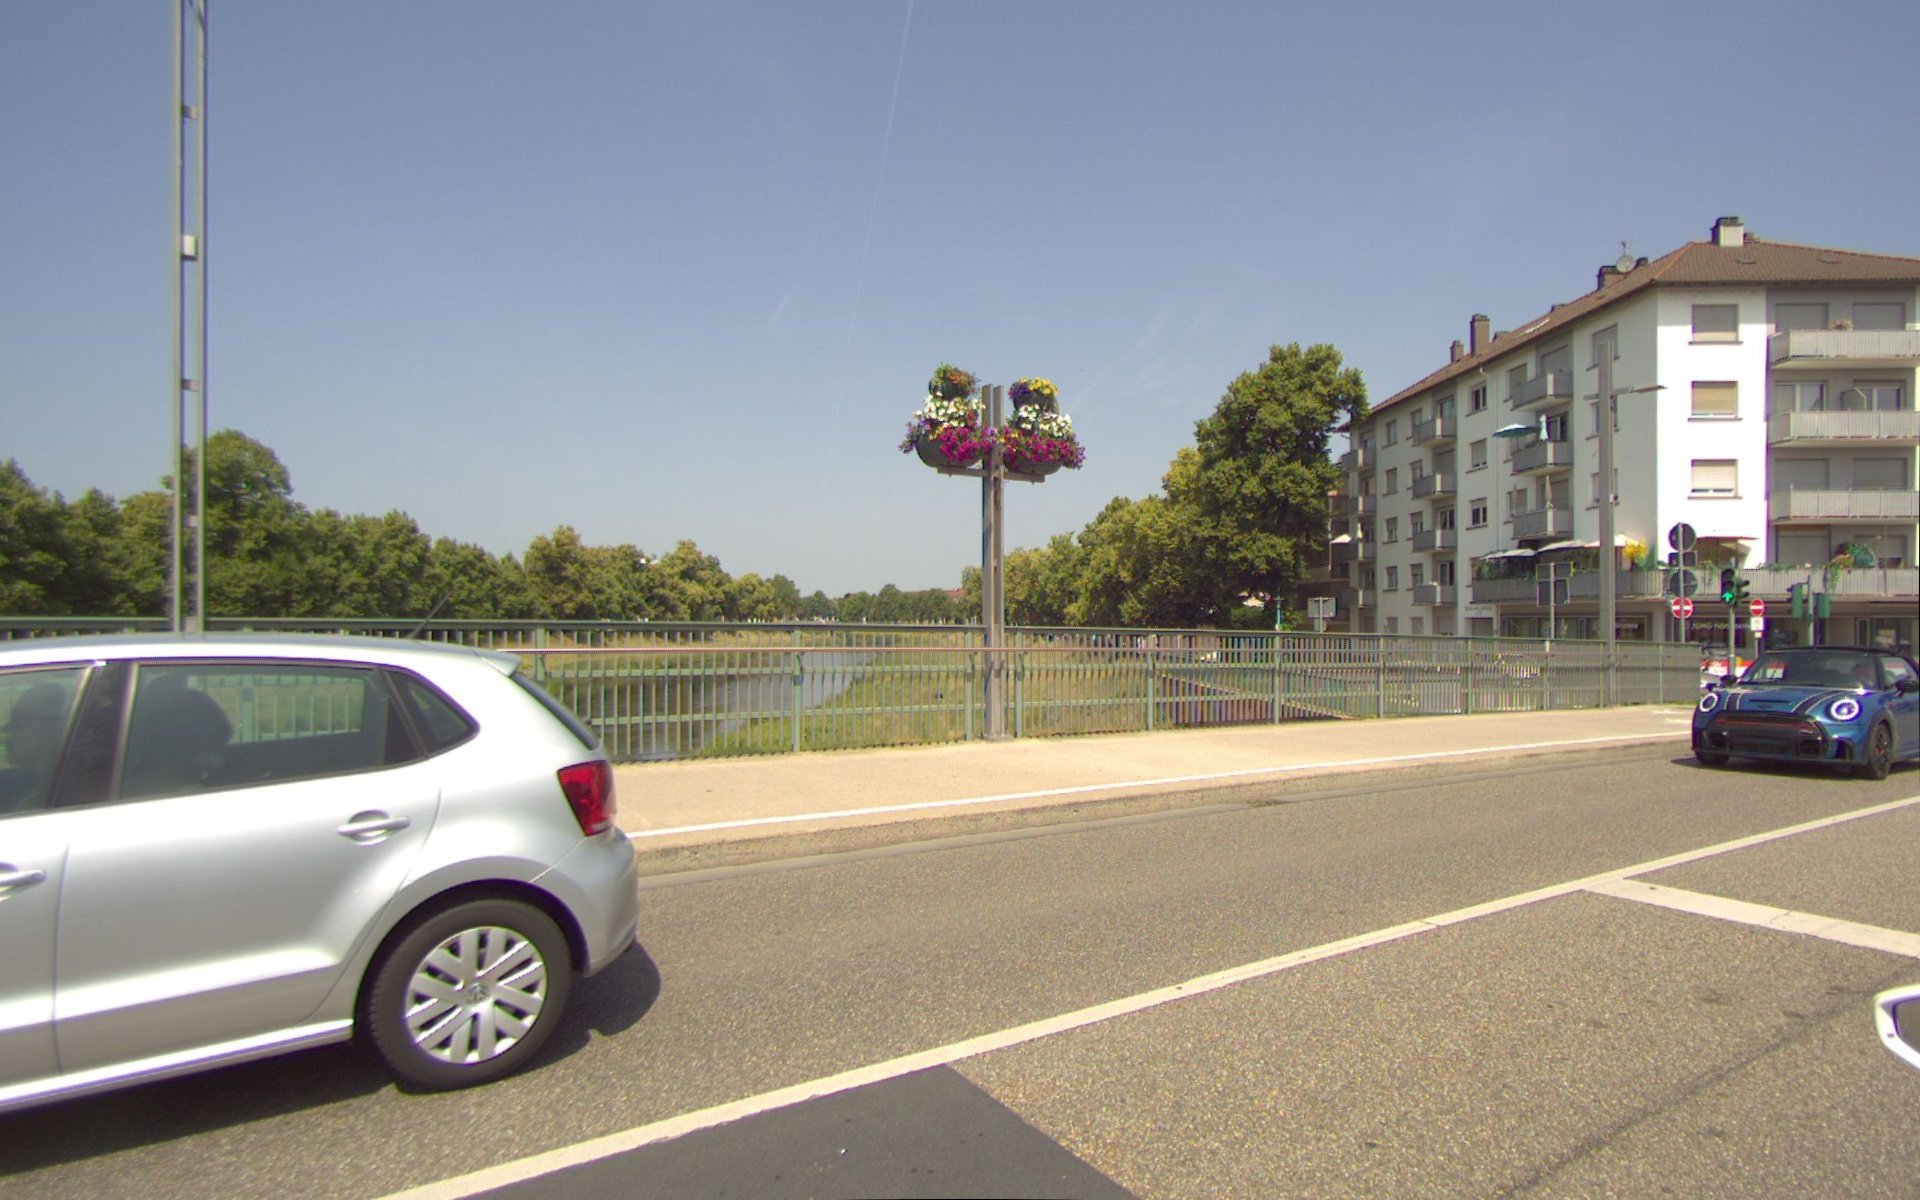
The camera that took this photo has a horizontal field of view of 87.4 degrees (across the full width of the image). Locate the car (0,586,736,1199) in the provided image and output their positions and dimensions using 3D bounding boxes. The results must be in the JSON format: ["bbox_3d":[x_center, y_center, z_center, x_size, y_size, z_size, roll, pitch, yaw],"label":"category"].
[{"bbox_3d":[-2.921,0.783,3.243,3.955,1.538,1.751,1,-4,-32],"label":"car"}]

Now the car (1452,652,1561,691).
[{"bbox_3d":[21.361,2.772,39.460,1.669,1.438,4.384,0,-3,-4],"label":"car"}]

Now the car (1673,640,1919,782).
[{"bbox_3d":[10.347,1.235,12.068,3.715,1.459,1.647,2,-3,-33],"label":"car"}]

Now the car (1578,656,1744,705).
[{"bbox_3d":[22.543,2.553,32.525,1.673,1.438,4.374,1,-3,-13],"label":"car"}]
